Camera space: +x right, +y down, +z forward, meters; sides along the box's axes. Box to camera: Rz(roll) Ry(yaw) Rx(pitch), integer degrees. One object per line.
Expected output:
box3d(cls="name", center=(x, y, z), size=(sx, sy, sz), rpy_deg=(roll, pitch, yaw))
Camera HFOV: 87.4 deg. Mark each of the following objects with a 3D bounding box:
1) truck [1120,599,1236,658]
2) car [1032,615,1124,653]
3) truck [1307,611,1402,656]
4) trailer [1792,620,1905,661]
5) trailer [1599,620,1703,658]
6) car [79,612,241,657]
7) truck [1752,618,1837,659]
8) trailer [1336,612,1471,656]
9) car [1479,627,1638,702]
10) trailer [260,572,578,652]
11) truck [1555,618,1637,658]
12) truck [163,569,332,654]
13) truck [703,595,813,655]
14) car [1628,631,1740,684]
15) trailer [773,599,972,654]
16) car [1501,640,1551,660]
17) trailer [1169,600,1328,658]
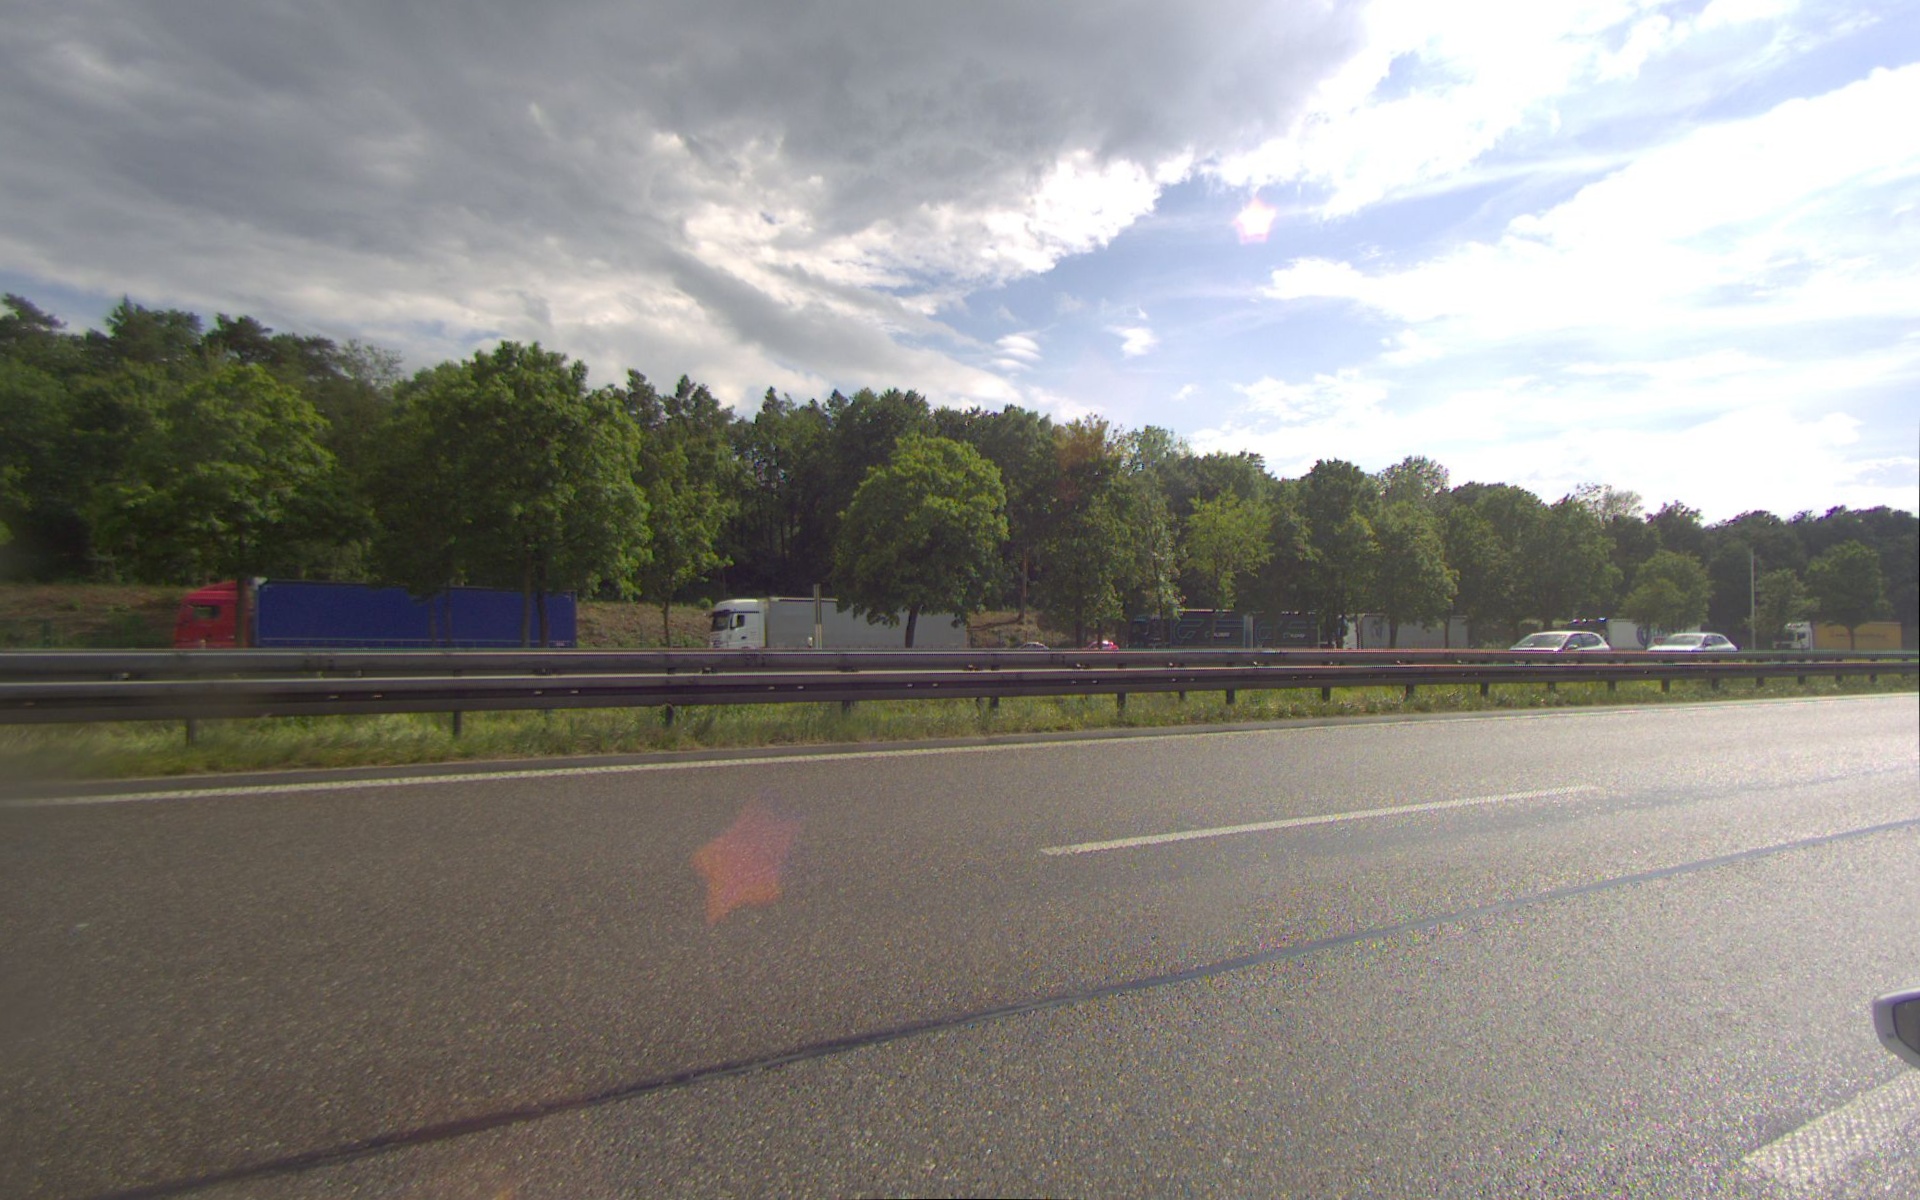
box3d(cls="truck", center=(16.870, 2.213, 77.601), size=(8.314, 4.290, 3.771), rpy_deg=(2, 0, -29))
box3d(cls="car", center=(8.518, 2.470, 72.386), size=(6.134, 2.515, 2.781), rpy_deg=(2, 0, -29))
box3d(cls="truck", center=(33.933, 2.875, 86.388), size=(7.265, 3.637, 3.771), rpy_deg=(2, 0, -29))
box3d(cls="trailer", center=(99.417, 4.523, 112.373), size=(11.533, 4.171, 3.788), rpy_deg=(2, 0, -16))
box3d(cls="trailer", center=(70.903, 4.014, 103.096), size=(10.344, 3.697, 3.782), rpy_deg=(1, -1, -22))
box3d(cls="car", center=(-39.172, 1.721, 49.393), size=(6.079, 2.040, 1.978), rpy_deg=(2, 0, -38))
box3d(cls="truck", center=(91.439, 4.229, 110.123), size=(6.930, 4.171, 3.788), rpy_deg=(2, 0, -16))
box3d(cls="trailer", center=(39.565, 3.070, 89.464), size=(13.180, 3.697, 3.773), rpy_deg=(2, -1, -29))
box3d(cls="car", center=(17.195, 1.824, 28.809), size=(4.722, 1.916, 1.822), rpy_deg=(2, 0, -30))
box3d(cls="trailer", center=(-25.749, 0.705, 48.657), size=(13.300, 3.450, 2.803), rpy_deg=(2, -1, -37))
box3d(cls="truck", center=(63.187, 3.775, 99.809), size=(6.612, 3.709, 3.778), rpy_deg=(2, 0, -24))
box3d(cls="truck", center=(-31.398, 0.529, 44.453), size=(5.842, 3.502, 2.840), rpy_deg=(2, 0, -37))
box3d(cls="truck", center=(-11.906, 1.459, 59.152), size=(5.449, 3.316, 3.333), rpy_deg=(2, 0, -33))
box3d(cls="car", center=(28.788, 2.283, 39.908), size=(4.722, 1.916, 1.822), rpy_deg=(2, 0, -30))
box3d(cls="trailer", center=(-5.327, 1.718, 63.283), size=(12.334, 3.259, 3.330), rpy_deg=(2, -1, -32))
box3d(cls="car", center=(54.041, 4.776, 95.917), size=(4.311, 1.741, 2.051), rpy_deg=(2, 0, -27))
box3d(cls="trailer", center=(23.499, 2.393, 81.316), size=(13.630, 4.464, 3.773), rpy_deg=(2, -1, -29))
